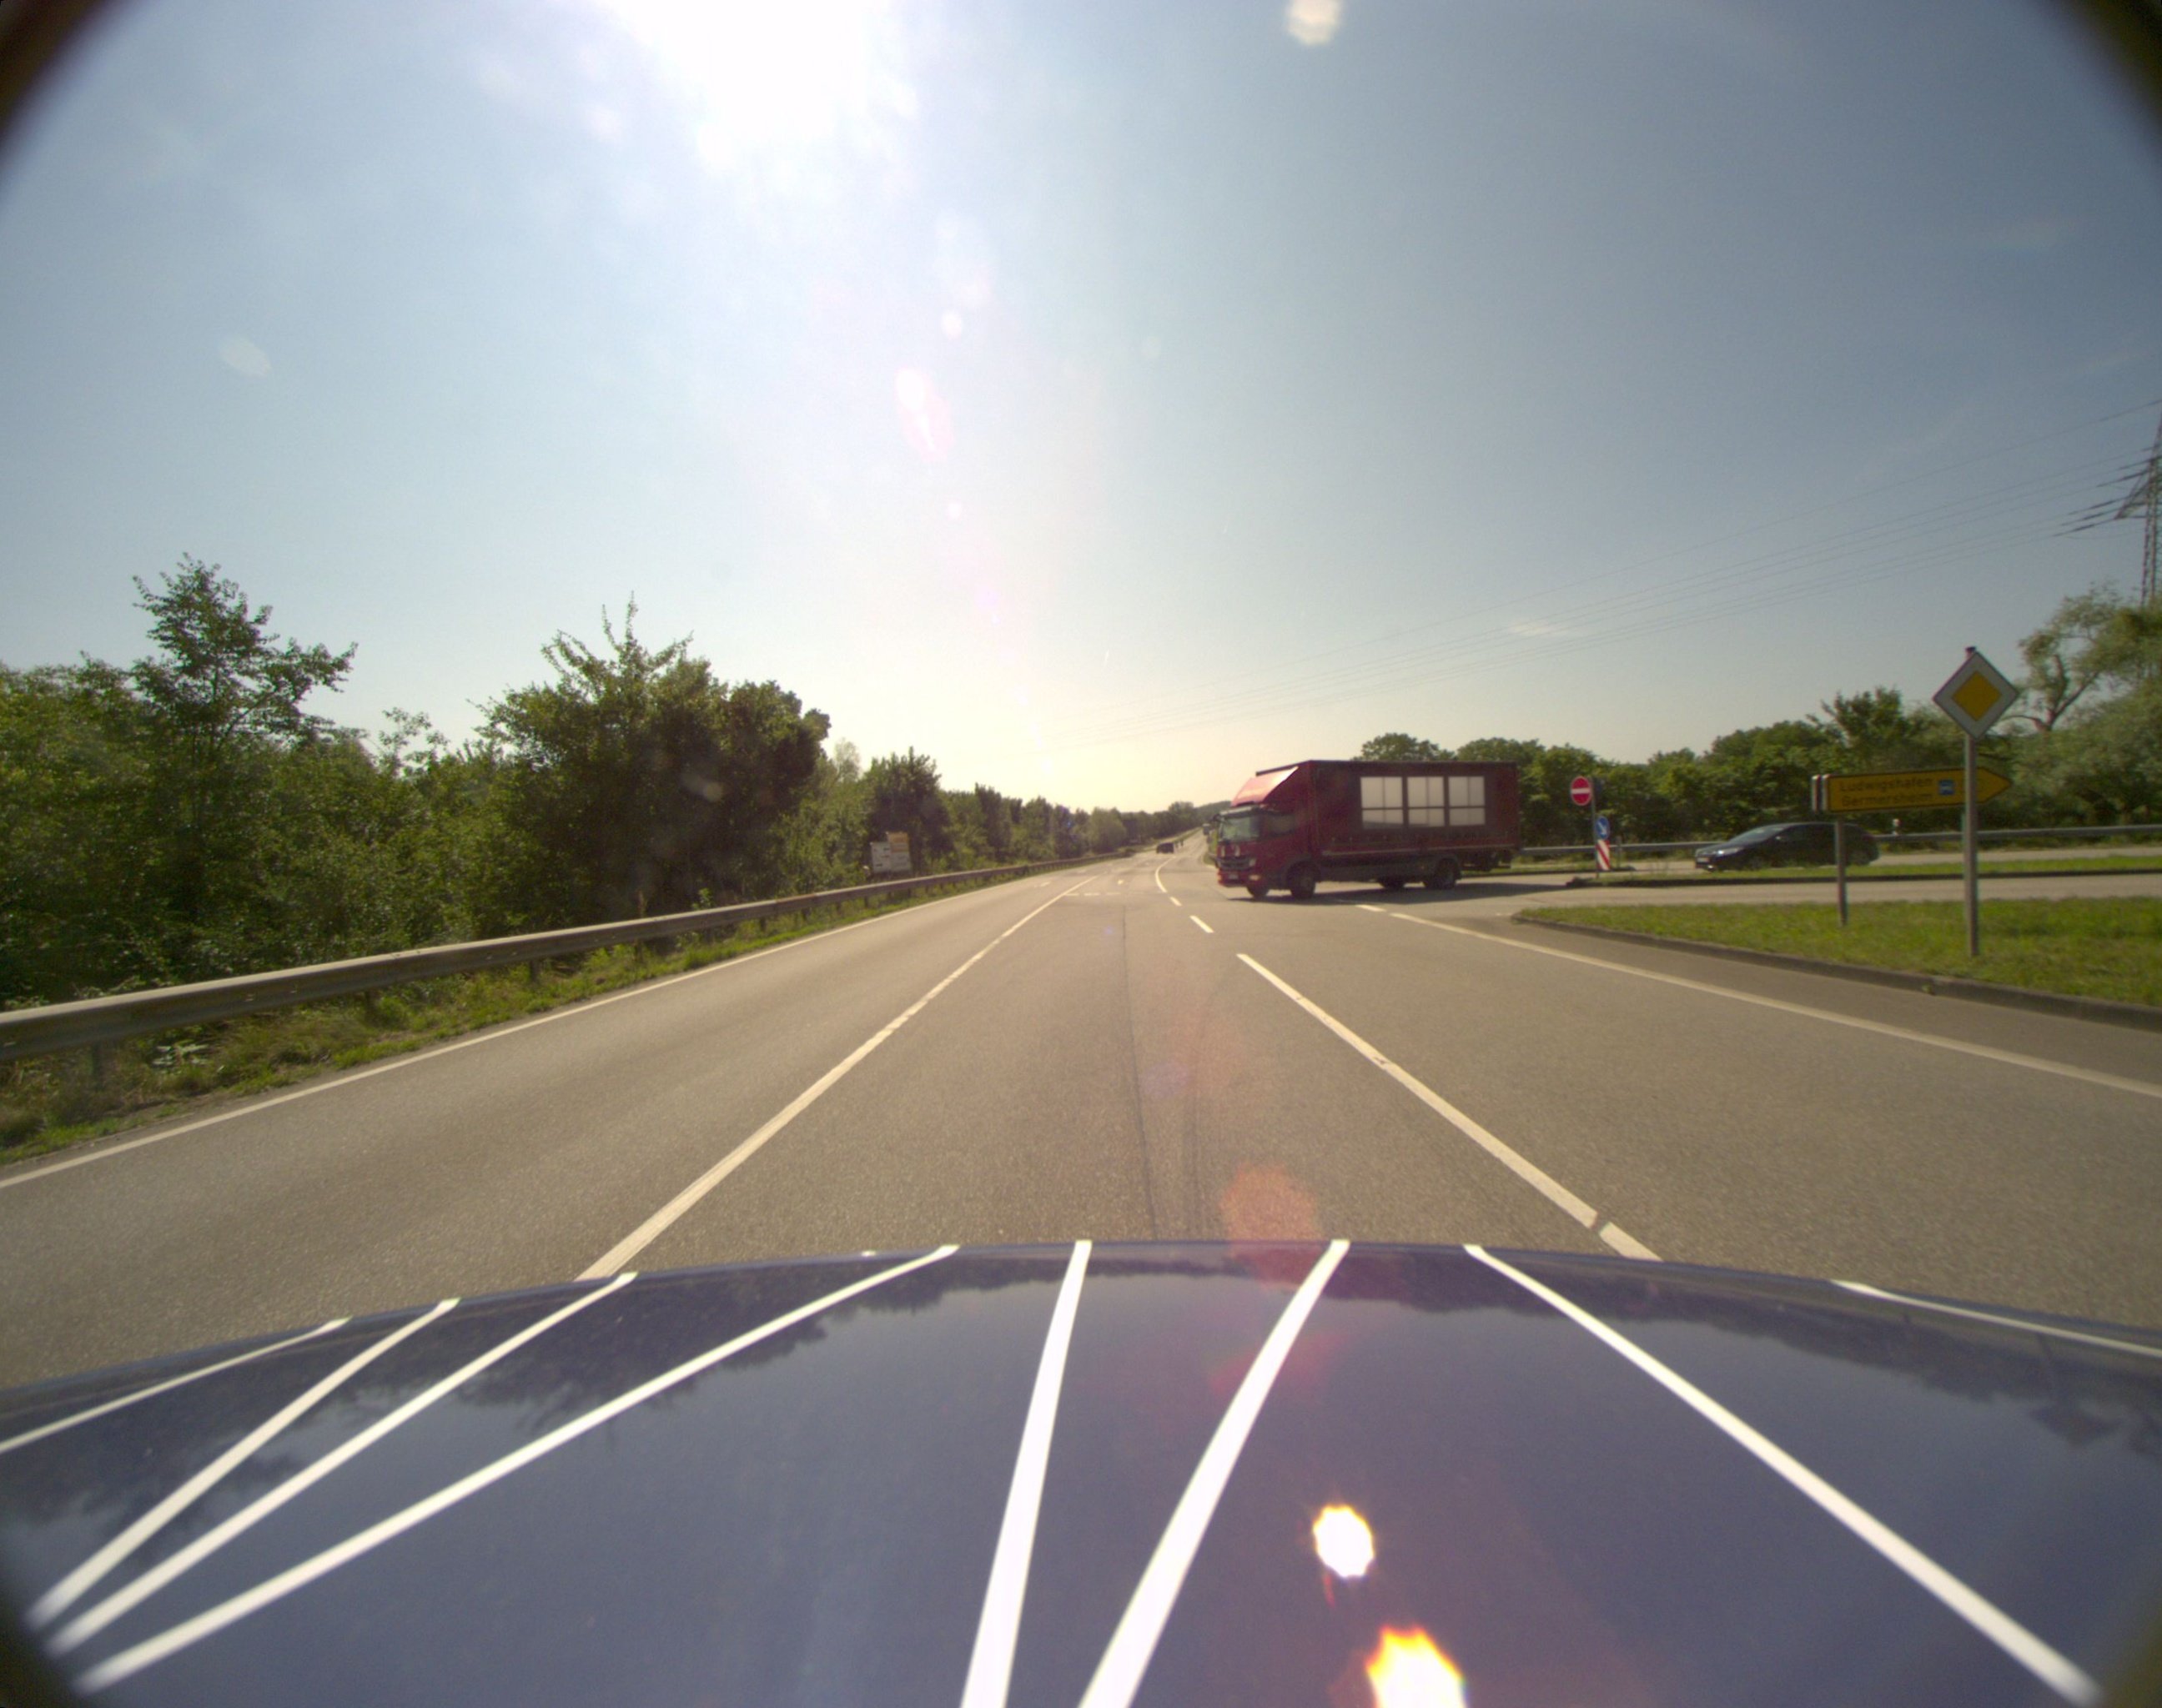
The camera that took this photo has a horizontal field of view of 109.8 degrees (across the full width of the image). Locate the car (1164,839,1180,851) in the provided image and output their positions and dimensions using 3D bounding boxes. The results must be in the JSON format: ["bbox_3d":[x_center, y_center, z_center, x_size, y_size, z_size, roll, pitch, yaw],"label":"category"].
[{"bbox_3d":[15.455,-1.503,128.292,1.996,1.868,4.999,-2,0,14],"label":"car"}]

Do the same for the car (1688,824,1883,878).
[{"bbox_3d":[20.956,-0.097,22.762,3.995,1.406,1.789,-2,1,6],"label":"car"}]

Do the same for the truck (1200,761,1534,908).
[{"bbox_3d":[8.257,-0.666,21.818,9.269,3.640,2.687,-3,1,-19],"label":"truck"}]
